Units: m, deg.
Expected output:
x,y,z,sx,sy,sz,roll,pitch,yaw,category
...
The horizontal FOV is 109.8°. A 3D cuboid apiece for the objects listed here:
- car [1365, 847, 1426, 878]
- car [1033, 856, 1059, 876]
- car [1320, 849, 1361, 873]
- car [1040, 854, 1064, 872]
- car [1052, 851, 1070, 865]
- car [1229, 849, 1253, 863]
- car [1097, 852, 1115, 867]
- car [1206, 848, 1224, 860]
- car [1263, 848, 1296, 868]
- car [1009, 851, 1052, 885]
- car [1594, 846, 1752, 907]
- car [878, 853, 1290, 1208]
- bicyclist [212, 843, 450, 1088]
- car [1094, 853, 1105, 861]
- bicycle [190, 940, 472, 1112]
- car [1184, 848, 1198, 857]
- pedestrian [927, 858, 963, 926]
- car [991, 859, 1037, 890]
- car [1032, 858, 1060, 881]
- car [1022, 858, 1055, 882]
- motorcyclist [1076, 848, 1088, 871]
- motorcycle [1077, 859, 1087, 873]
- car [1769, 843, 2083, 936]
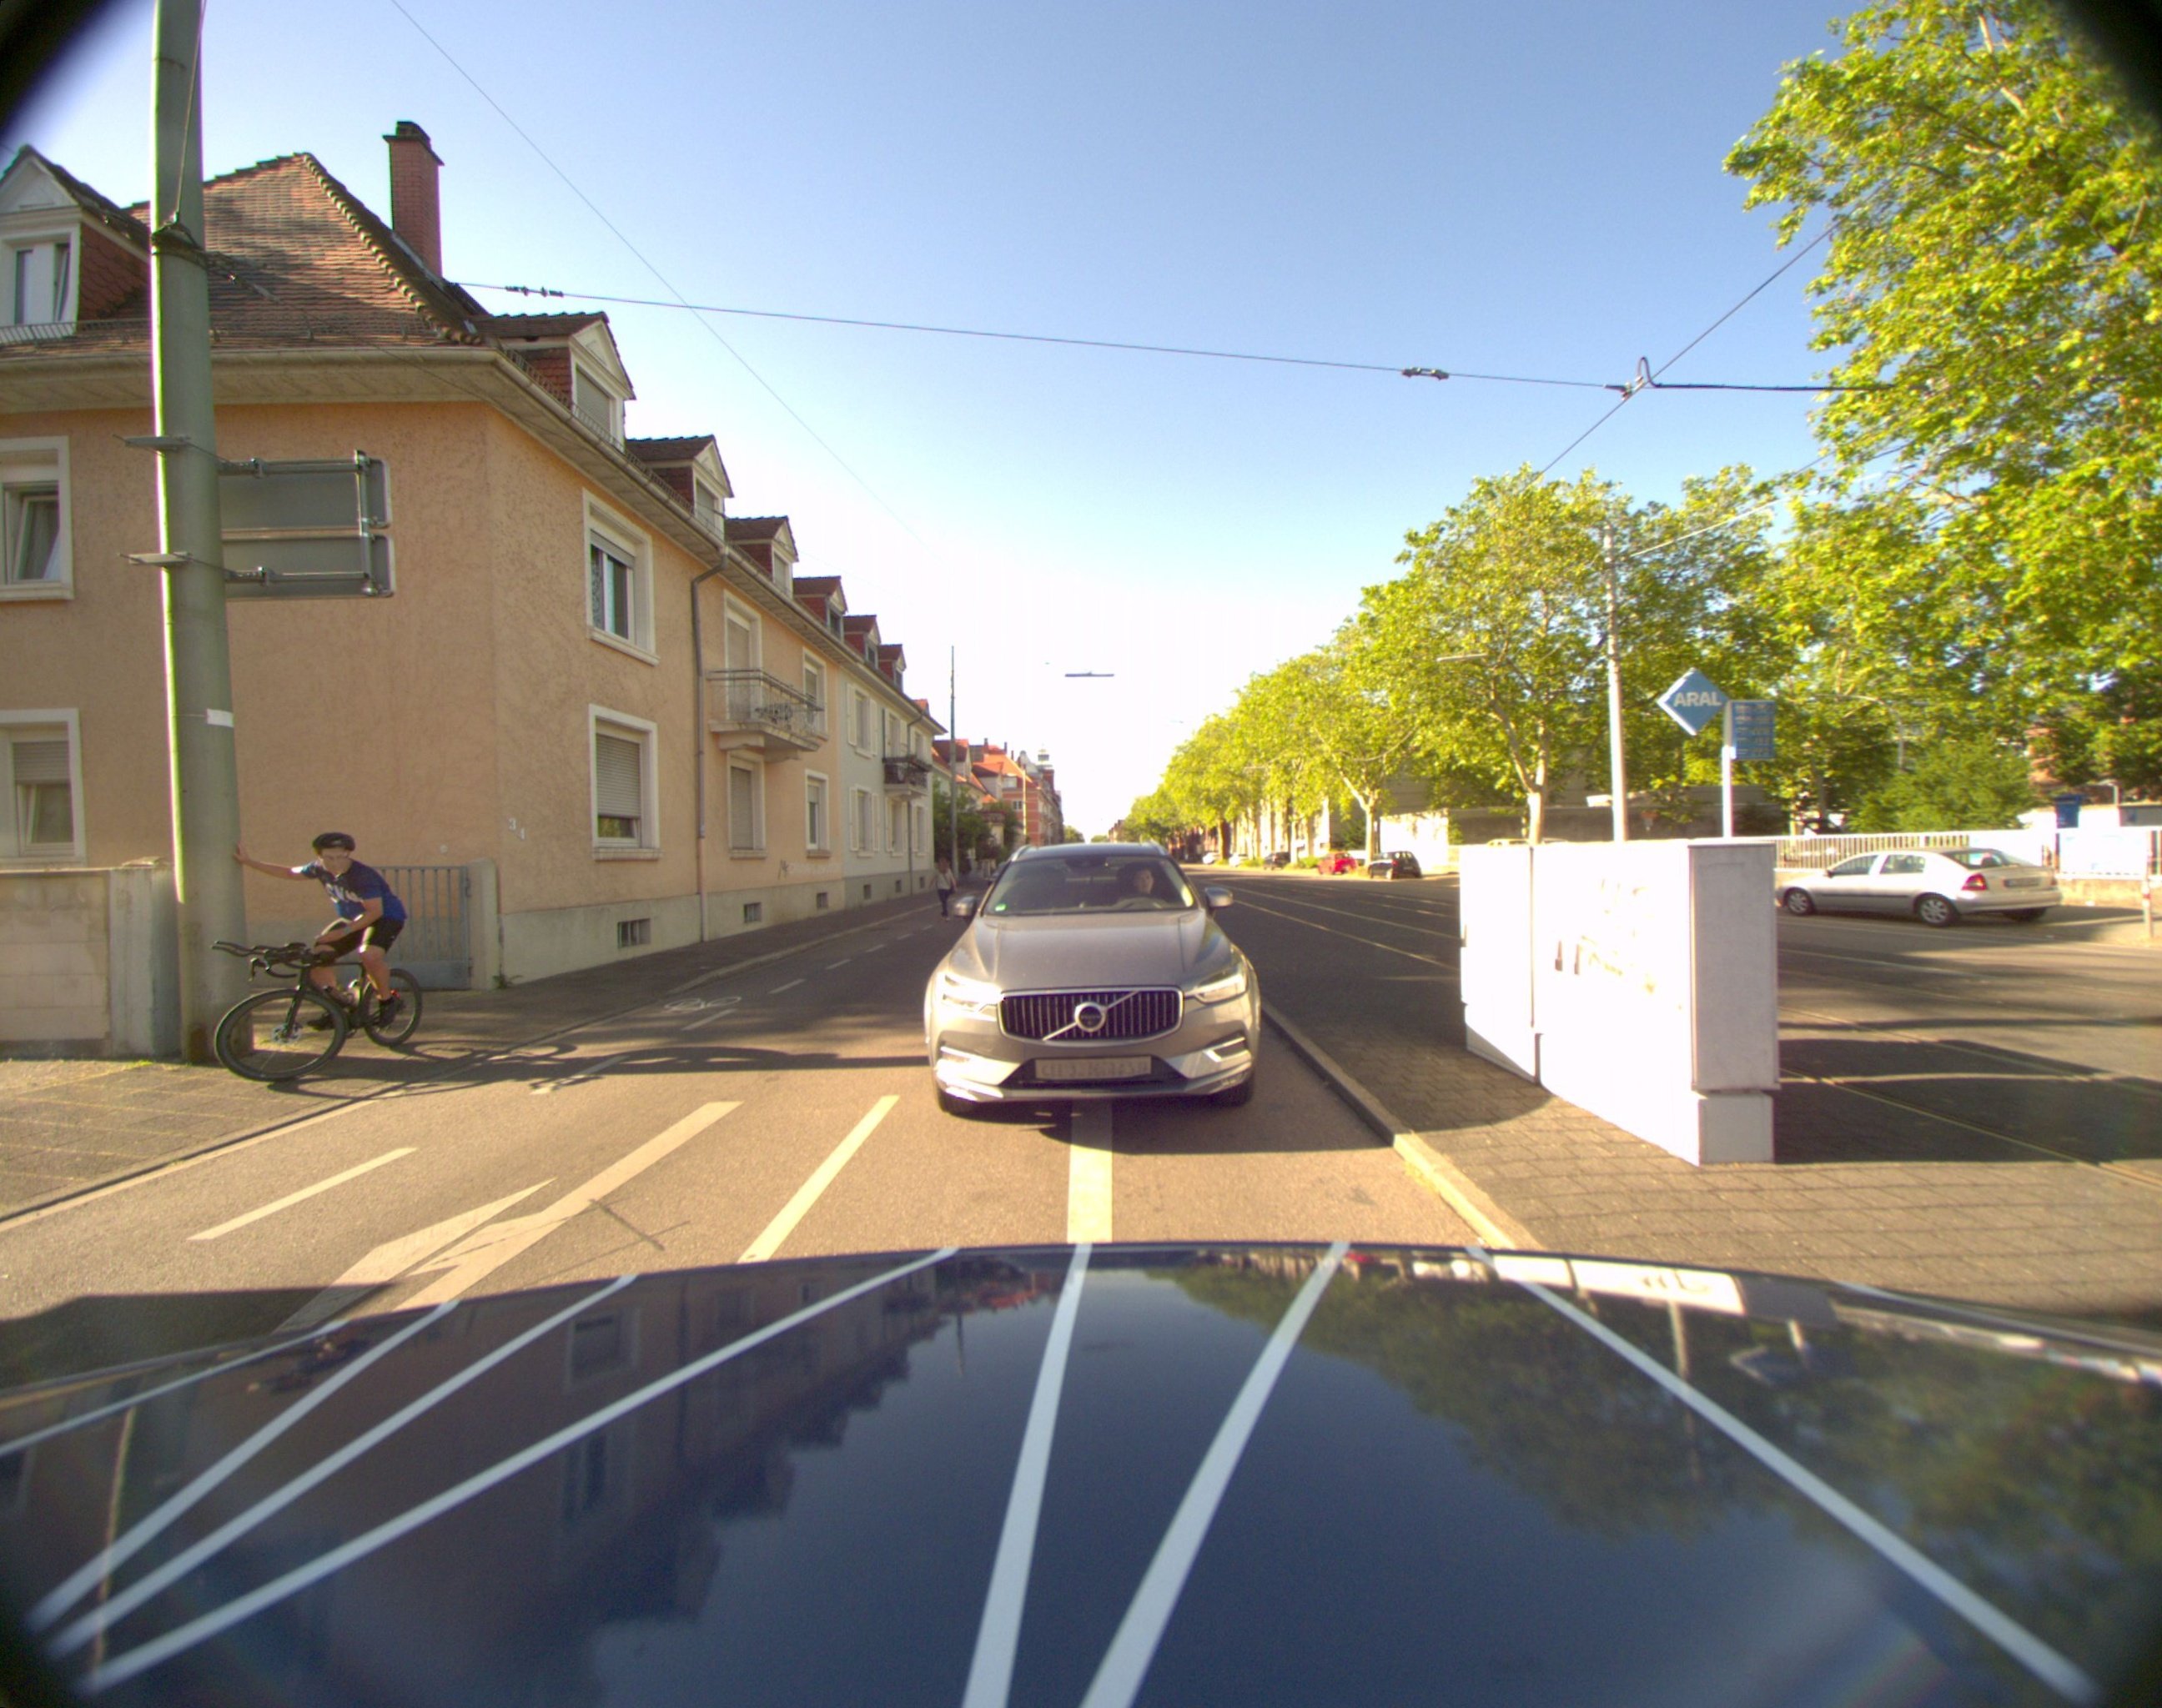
x,y,z,sx,sy,sz,roll,pitch,yaw,category
16.885,0.426,40.977,1.826,1.521,3.653,-2,0,1,car
-2.749,0.947,60.673,1.785,1.468,4.000,-1,0,1,car
16.945,0.439,49.747,1.641,1.499,3.046,-1,0,1,car
-2.559,0.770,66.826,1.875,1.477,4.000,-1,0,1,car
-2.202,0.453,85.488,1.875,1.477,4.000,-1,0,1,car
17.548,0.228,83.424,1.802,1.489,4.000,-1,0,1,car
2.830,0.622,86.654,1.998,1.543,4.000,-1,0,1,car
17.735,-0.003,100.669,1.802,1.504,4.000,-1,0,1,car
17.197,0.292,66.039,1.802,1.652,4.000,-1,0,1,car
-2.786,0.717,42.882,1.751,1.767,5.351,-1,0,3,car
16.434,0.578,21.337,1.692,1.455,3.519,-4,0,2,car
0.044,0.850,5.799,1.940,1.650,4.321,-1,0,1,car
-6.145,0.860,6.288,1.076,1.854,0.846,2,1,1,bicyclist
3.374,0.567,142.381,1.998,1.543,4.000,-1,0,1,car
-5.940,1.300,6.173,0.572,0.986,1.698,2,0,1,bicycle
18.197,-0.211,125.626,1.802,1.504,4.000,-1,0,1,car
-3.475,0.956,19.466,0.695,1.652,1.098,-2,1,-3,pedestrian
-3.208,0.965,37.023,1.647,1.357,3.868,-1,0,4,car
-2.464,1.087,54.437,1.785,1.468,4.000,-1,0,1,car
-2.681,0.992,48.301,1.785,1.346,4.000,-1,0,1,car
0.084,0.439,61.990,0.827,1.832,1.159,-2,1,1,motorcyclist
0.125,0.960,61.963,0.792,1.095,2.519,0,0,1,motorcycle
16.248,0.599,14.989,1.795,1.455,3.966,-4,0,2,car
